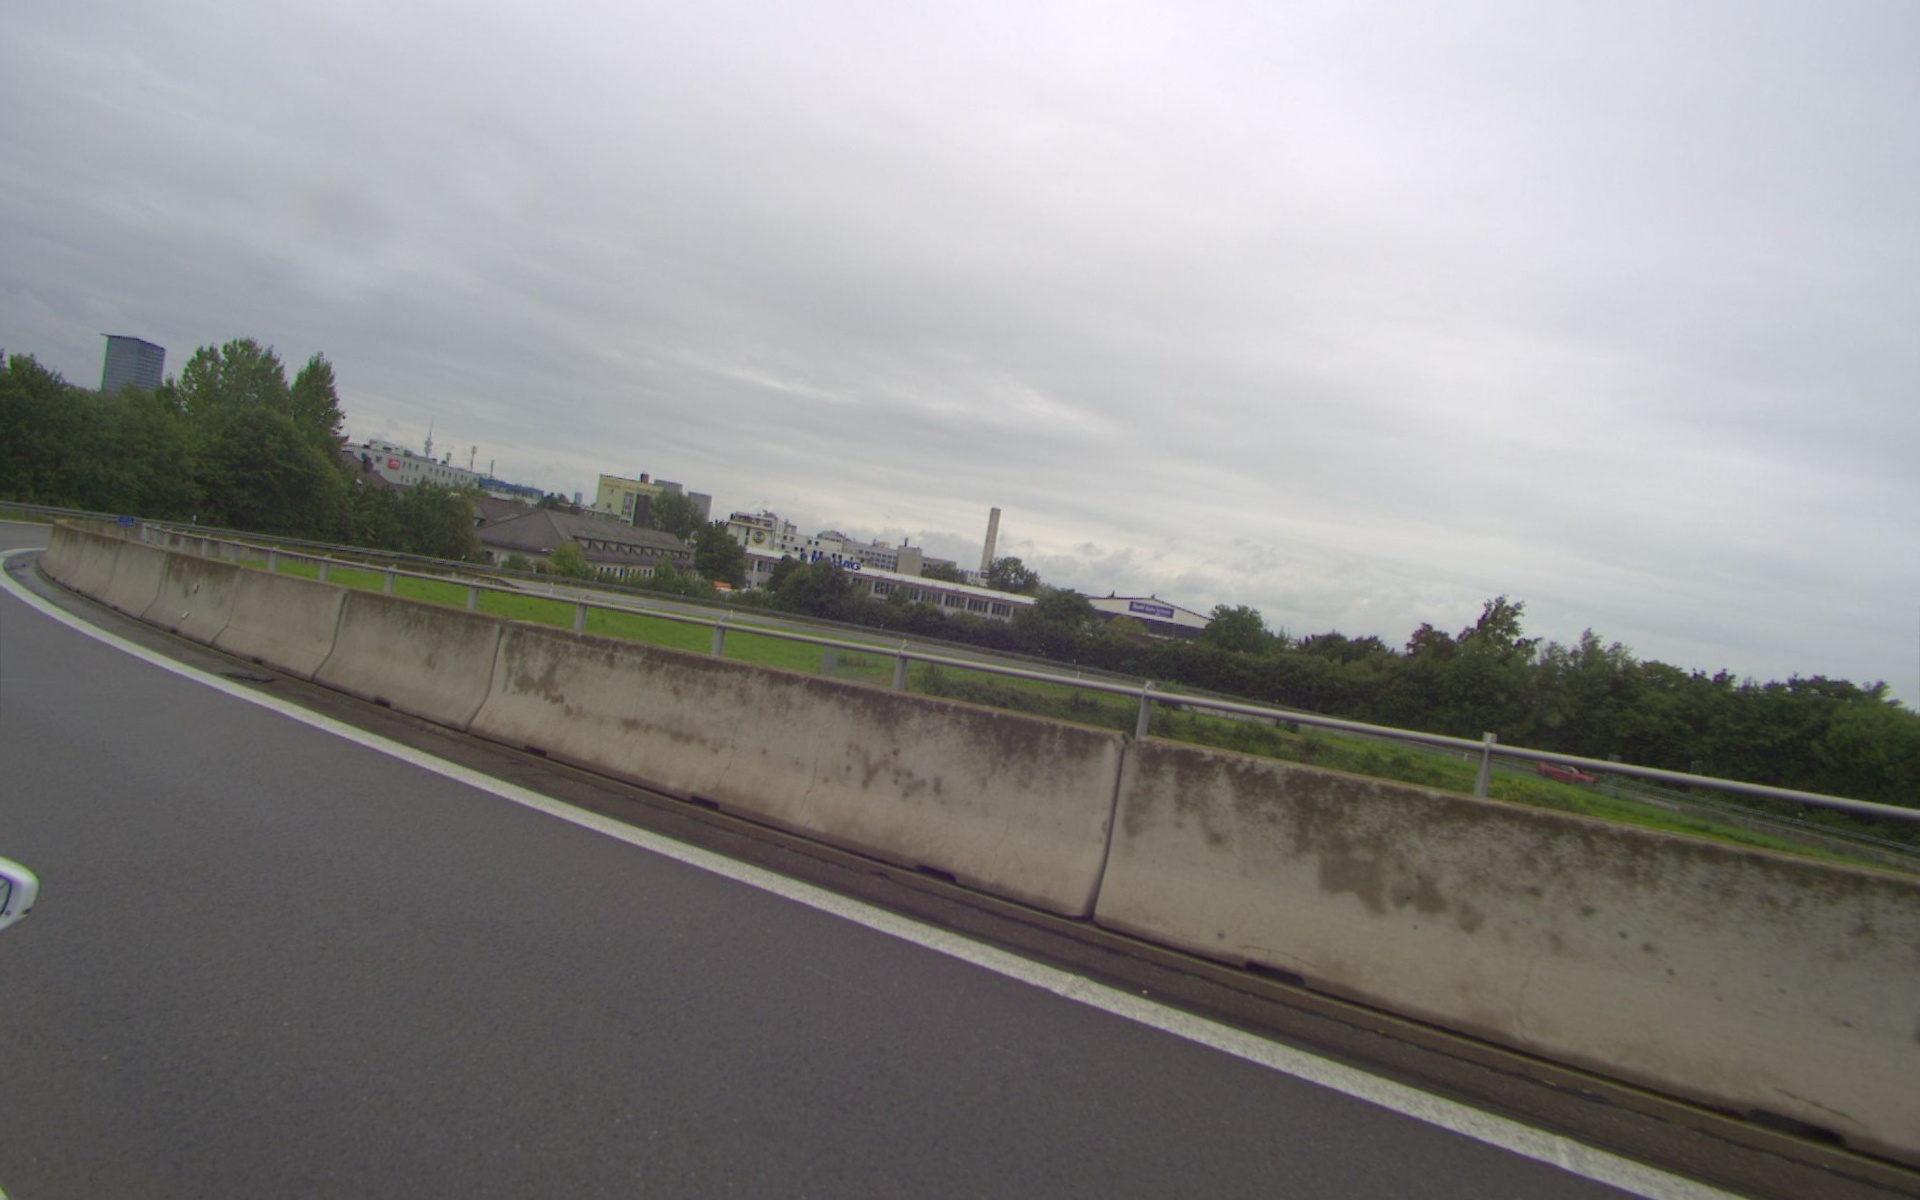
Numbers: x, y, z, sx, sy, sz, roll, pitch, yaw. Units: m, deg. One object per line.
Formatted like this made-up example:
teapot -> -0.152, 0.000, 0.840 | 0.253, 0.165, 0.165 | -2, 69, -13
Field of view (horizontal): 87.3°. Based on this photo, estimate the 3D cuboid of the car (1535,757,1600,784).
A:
car -> 53.475, 14.980, 88.586 | 1.705, 1.620, 4.478 | 9, -4, -39
